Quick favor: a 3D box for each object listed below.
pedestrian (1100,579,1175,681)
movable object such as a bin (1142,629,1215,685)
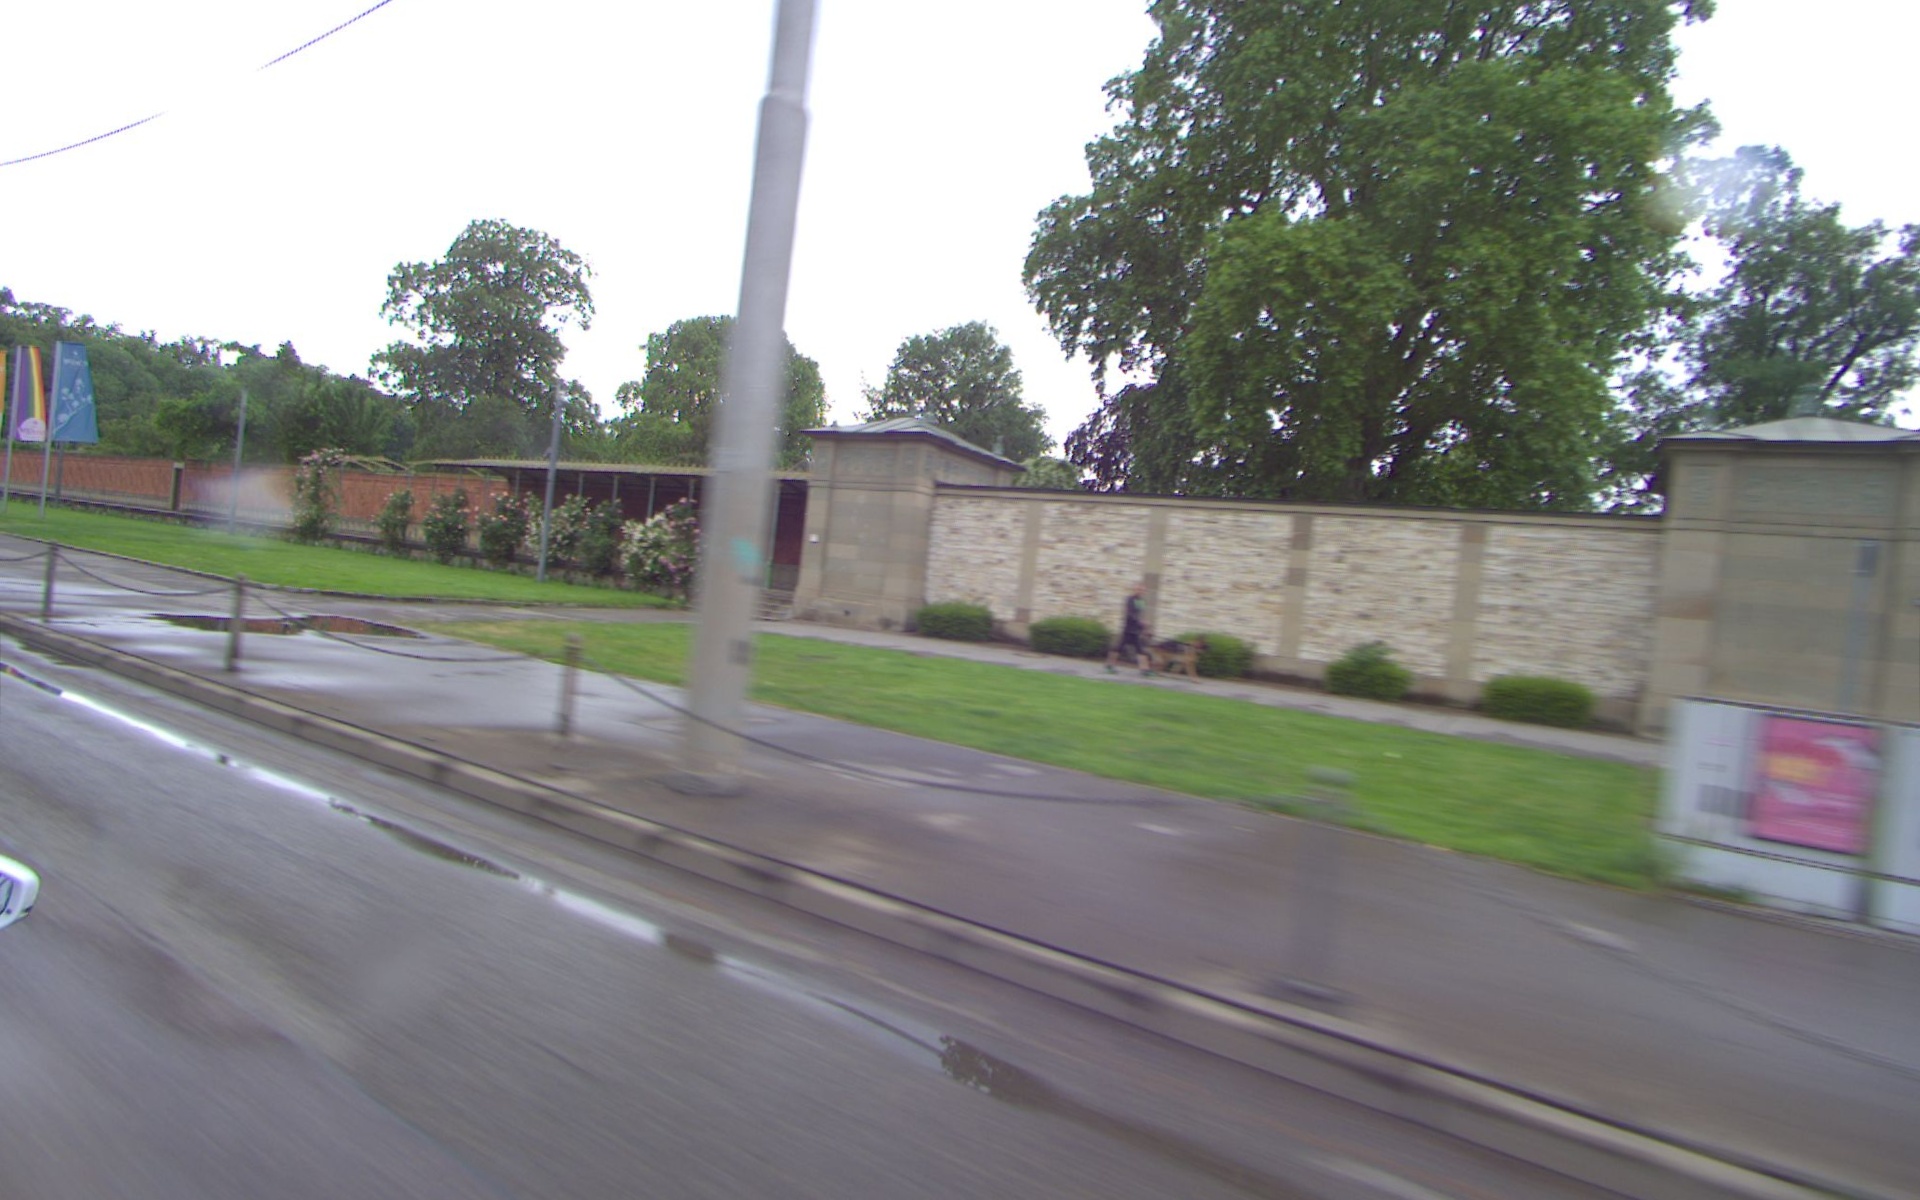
[{"bbox_3d":[3.230,0.543,18.284,0.965,1.732,0.728,6,1,33],"label":"pedestrian"},{"bbox_3d":[4.002,1.045,18.445,1.172,0.883,0.342,6,1,33],"label":"movable object such as a bin"}]
